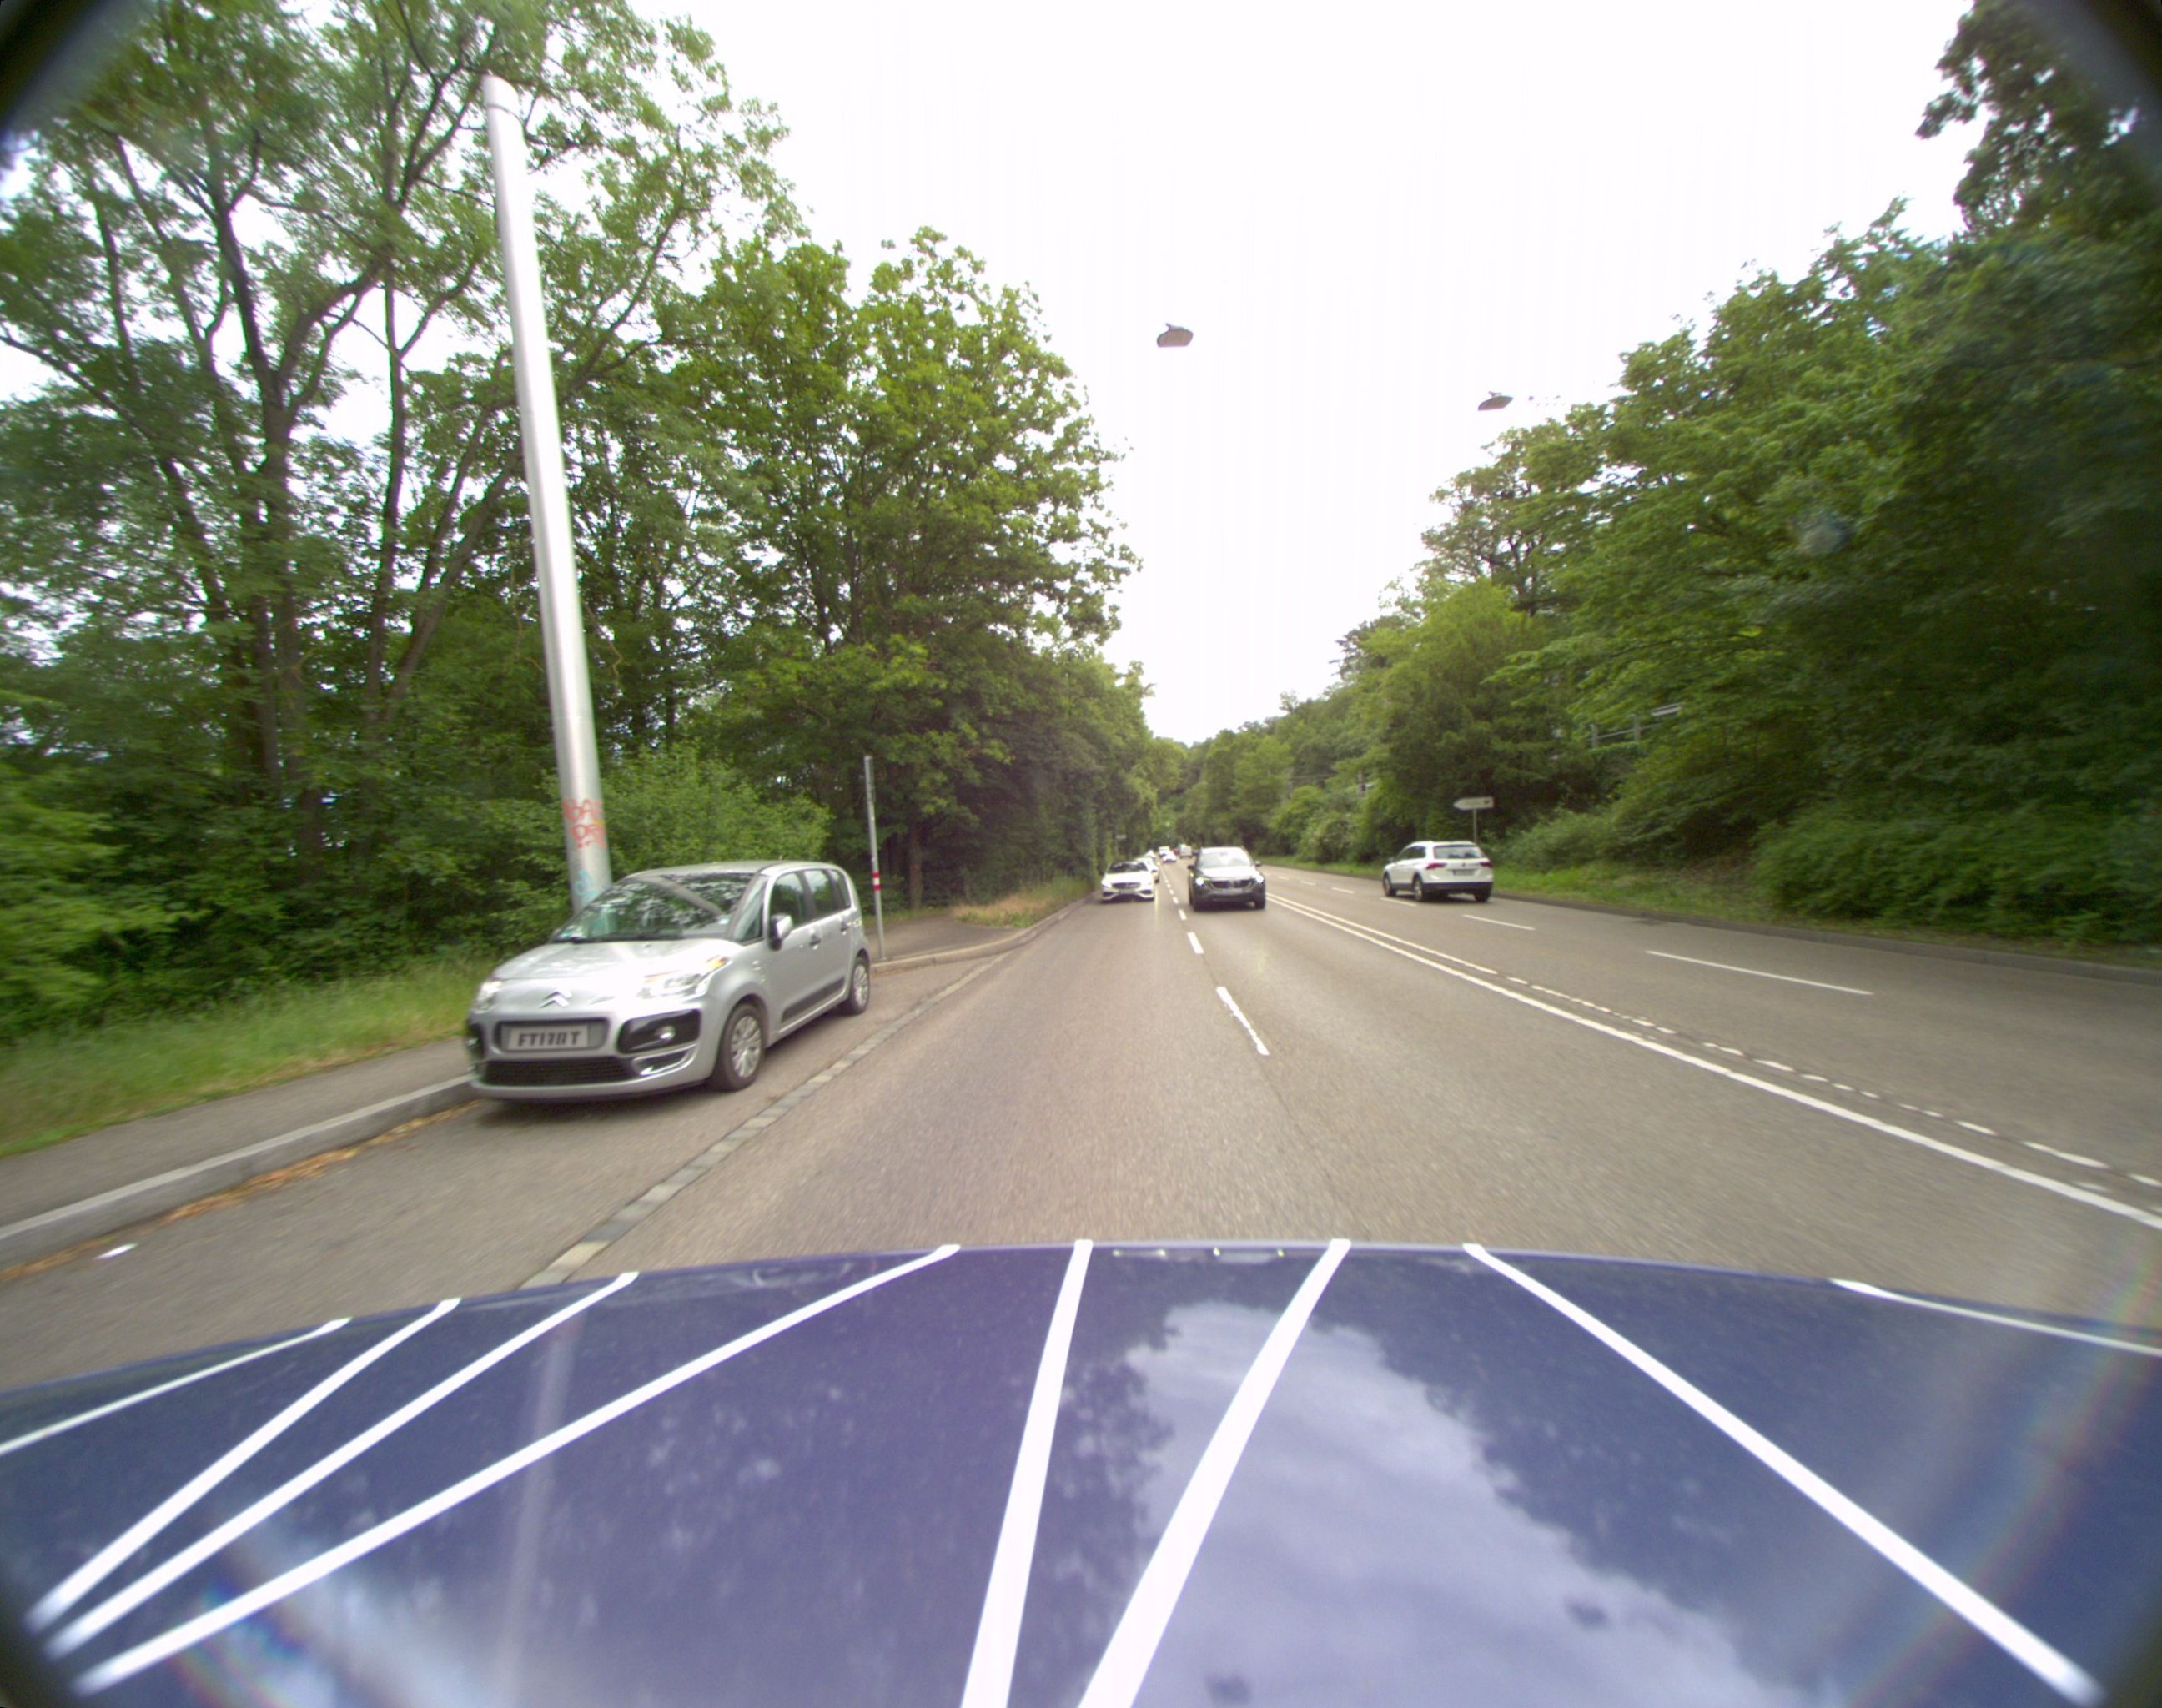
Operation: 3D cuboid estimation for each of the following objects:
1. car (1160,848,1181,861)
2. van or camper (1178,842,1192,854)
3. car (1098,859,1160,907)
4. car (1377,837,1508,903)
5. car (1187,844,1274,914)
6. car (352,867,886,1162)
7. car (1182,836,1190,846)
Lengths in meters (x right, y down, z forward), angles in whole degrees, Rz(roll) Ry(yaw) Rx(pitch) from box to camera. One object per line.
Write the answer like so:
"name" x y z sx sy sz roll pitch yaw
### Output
"car" 11.509 0.059 98.175 1.698 1.573 3.998 -5 0 -6
"van or camper" 17.174 -1.016 125.286 1.997 2.002 5.370 1 1 6
"car" 1.751 0.943 26.676 1.896 1.288 4.329 -5 0 5
"car" 10.127 0.384 21.692 1.860 1.685 4.437 0 1 4
"car" 3.976 0.600 20.890 1.870 1.653 4.193 -2 1 5
"car" -3.177 0.969 6.365 1.807 1.516 4.000 -3 1 3
"car" 29.243 -3.665 211.187 1.891 2.541 4.916 -2 1 6
